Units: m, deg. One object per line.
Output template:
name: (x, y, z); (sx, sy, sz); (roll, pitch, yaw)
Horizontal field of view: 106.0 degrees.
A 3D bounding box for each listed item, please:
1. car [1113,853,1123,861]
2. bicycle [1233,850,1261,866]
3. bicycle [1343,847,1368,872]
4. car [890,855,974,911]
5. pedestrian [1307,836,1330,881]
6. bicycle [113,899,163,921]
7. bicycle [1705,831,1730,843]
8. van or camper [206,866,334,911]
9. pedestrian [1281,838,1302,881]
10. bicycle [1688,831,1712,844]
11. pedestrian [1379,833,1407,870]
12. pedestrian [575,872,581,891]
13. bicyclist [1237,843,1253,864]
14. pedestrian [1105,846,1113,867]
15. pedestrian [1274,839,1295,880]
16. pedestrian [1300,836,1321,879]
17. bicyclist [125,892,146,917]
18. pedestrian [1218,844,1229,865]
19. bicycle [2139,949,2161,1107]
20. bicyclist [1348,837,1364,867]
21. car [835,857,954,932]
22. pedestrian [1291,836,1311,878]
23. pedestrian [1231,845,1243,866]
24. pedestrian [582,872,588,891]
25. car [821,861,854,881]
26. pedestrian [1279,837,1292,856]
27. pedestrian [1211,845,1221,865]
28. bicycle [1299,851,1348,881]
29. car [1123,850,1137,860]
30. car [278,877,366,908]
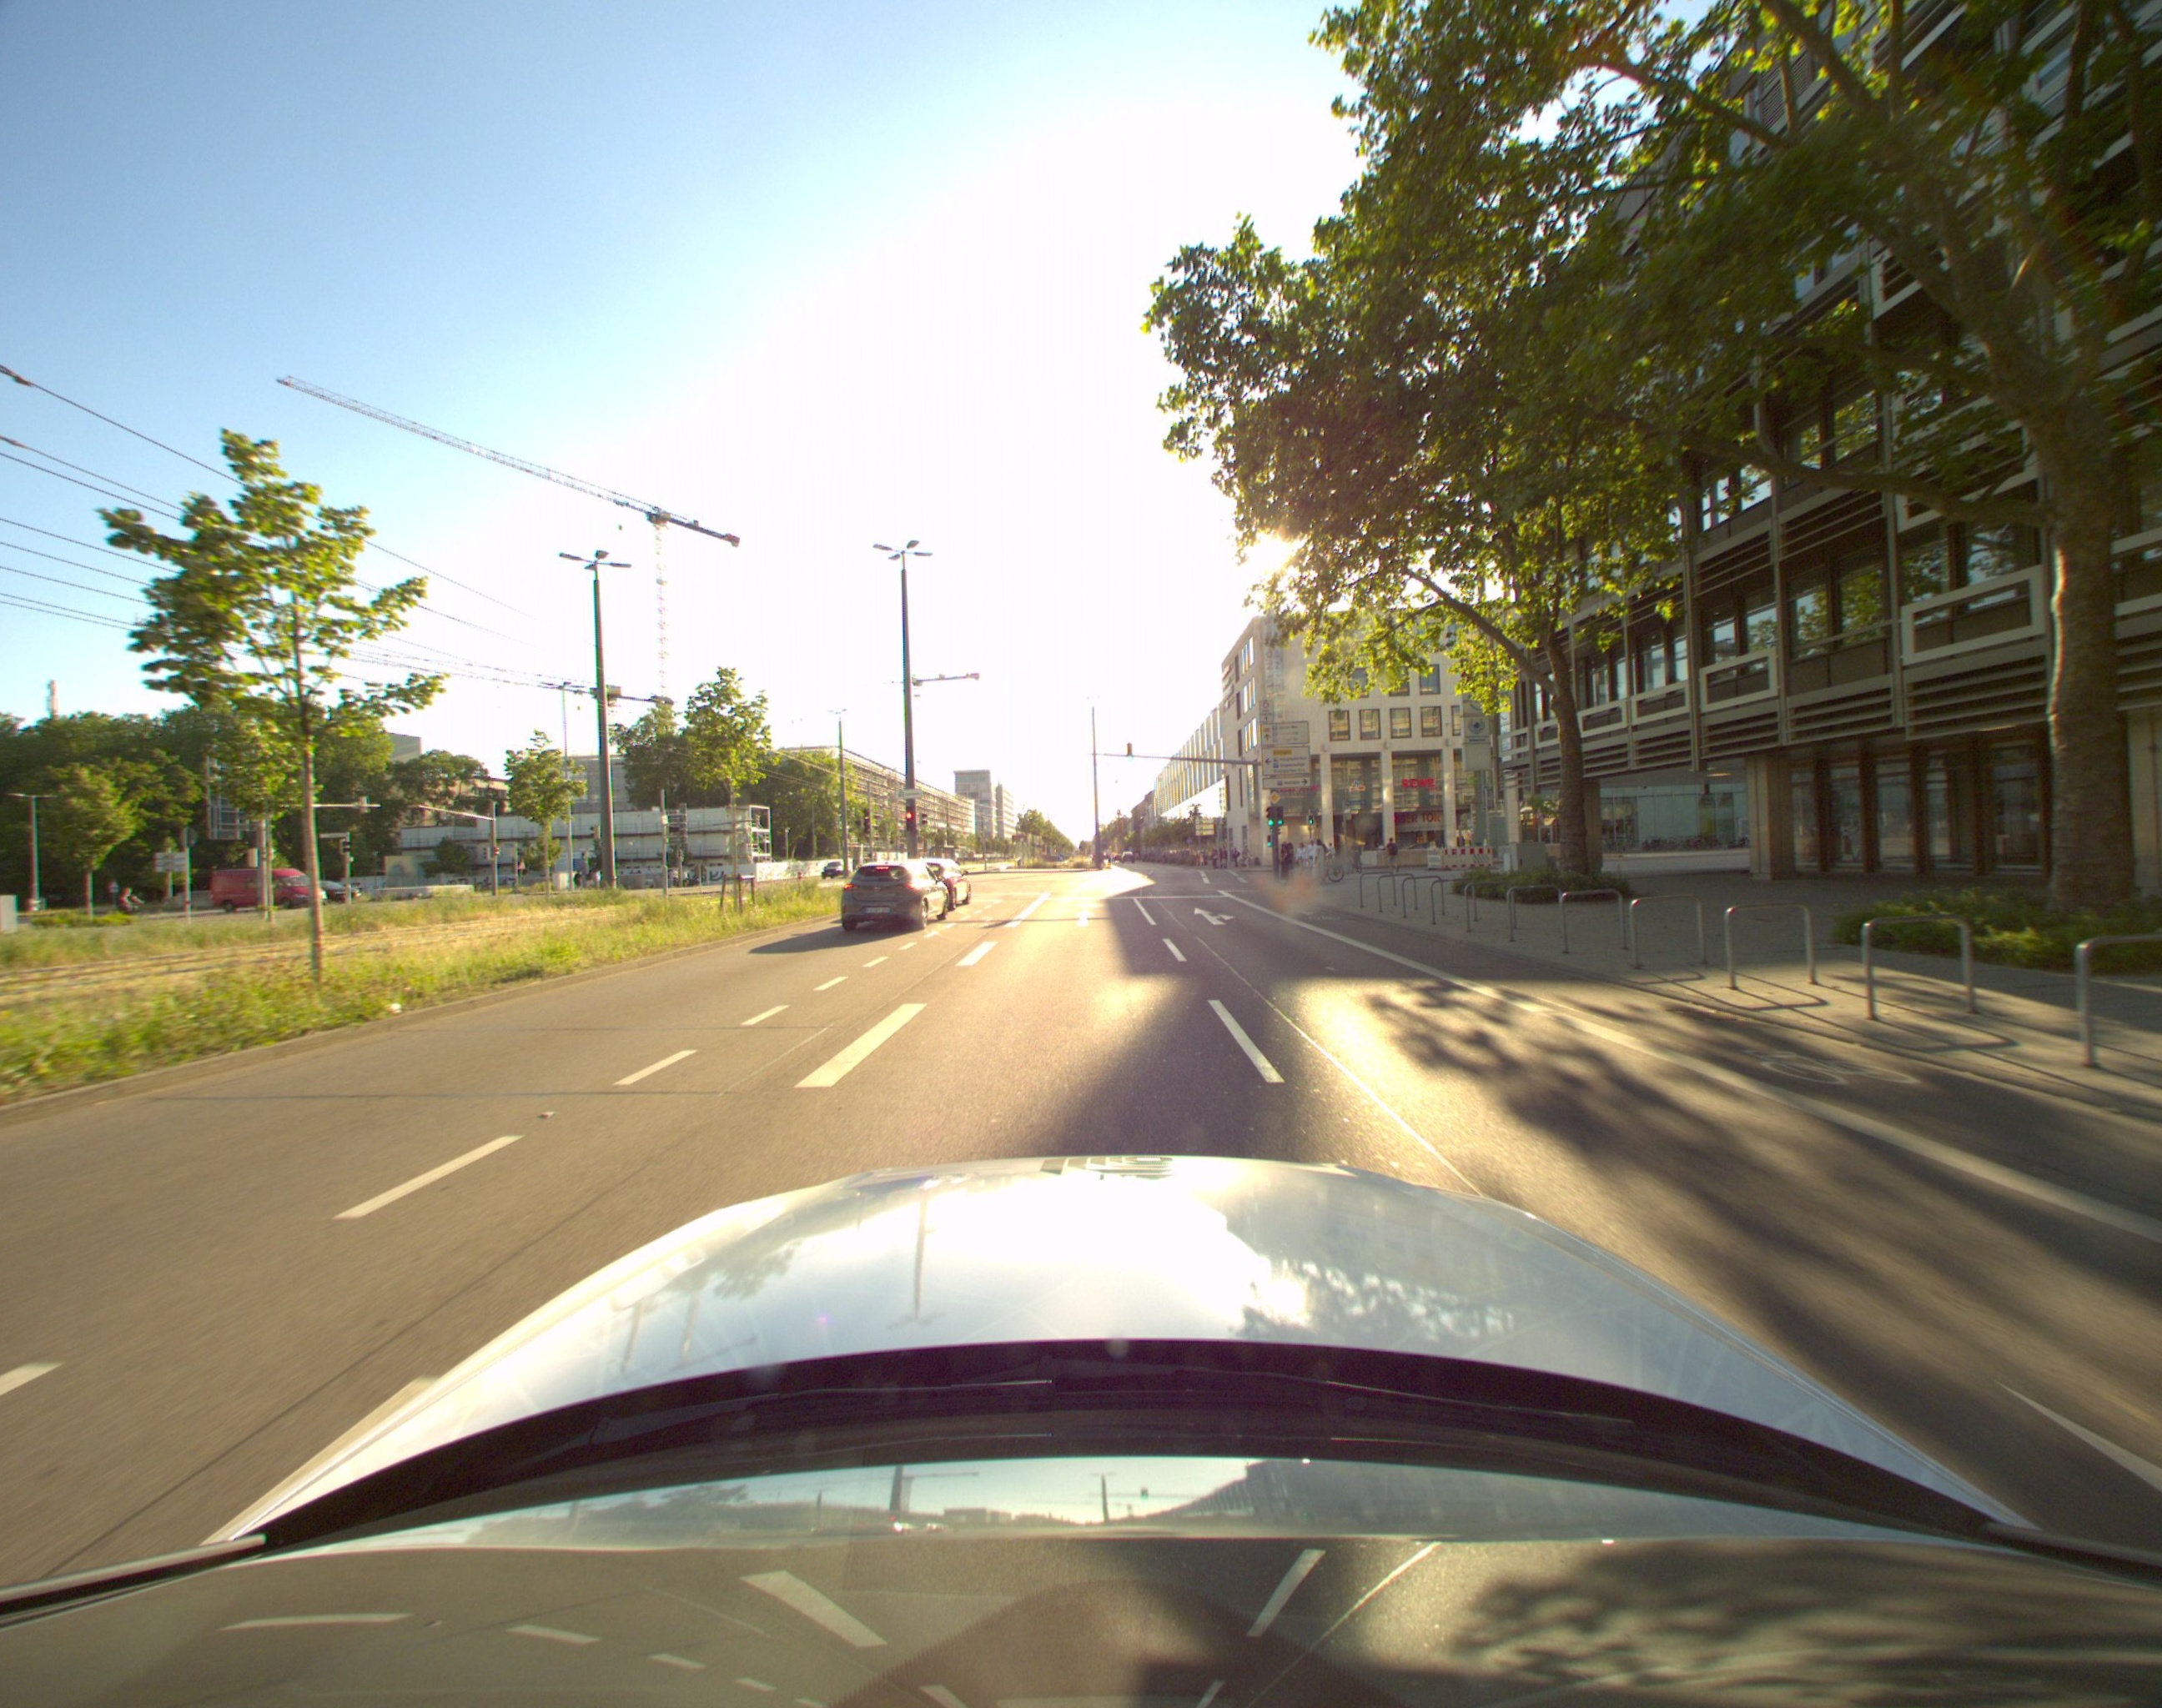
car: (7.061, 0.512, 155.874); (1.698, 1.428, 3.924); (-2, 0, -1)
bicycle: (12.599, 0.301, 61.910); (2.275, 1.204, 0.793); (-2, 0, -39)
bicycle: (14.102, 0.266, 41.837); (0.589, 1.232, 2.155); (-2, 0, 2)
car: (-4.267, 0.787, 23.883); (1.698, 1.428, 3.925); (-1, 0, 0)
pedestrian: (9.212, 0.185, 31.632); (0.632, 1.703, 0.570); (-4, 0, 1)
bicycle: (-46.249, 2.750, 39.946); (1.651, 0.971, 0.506); (-2, 0, -6)
bicycle: (48.311, -1.287, 61.839); (0.538, 0.933, 1.638); (-2, 0, 0)
van or camper: (-49.353, 2.099, 49.654); (5.638, 2.414, 2.156); (-2, 0, 2)
pedestrian: (8.700, 0.225, 33.677); (0.632, 1.703, 0.570); (-4, 0, 1)
bicycle: (46.950, -1.230, 61.737); (0.538, 0.933, 1.638); (-2, 0, 0)
pedestrian: (15.167, -0.128, 39.611); (0.906, 1.703, 1.114); (-2, 0, 2)
pedestrian: (-38.904, 2.125, 62.988); (0.272, 1.465, 0.279); (-2, 0, 1)
bicyclist: (12.432, -0.045, 61.790); (0.789, 1.602, 0.794); (-2, 0, -36)
pedestrian: (2.426, 0.214, 70.181); (0.492, 1.743, 0.446); (-2, 0, -9)
pedestrian: (8.281, 0.218, 33.145); (0.632, 1.608, 0.570); (-4, 0, 1)
pedestrian: (11.337, 0.143, 40.300); (0.762, 2.060, 0.799); (-4, 0, 7)
bicyclist: (-46.369, 2.469, 39.940); (0.410, 1.142, 0.504); (-2, 0, -5)
pedestrian: (12.229, 0.048, 69.972); (0.813, 1.734, 0.791); (-2, 0, 4)
bicycle: (6.775, 0.922, 4.181); (1.682, 0.867, 0.574); (-4, 0, 9)
bicyclist: (14.083, -0.099, 41.703); (0.576, 1.522, 0.750); (-2, 0, 1)
car: (-4.036, 0.808, 18.268); (1.771, 1.428, 3.998); (-1, 0, -1)
pedestrian: (11.156, 0.163, 41.317); (0.762, 2.060, 0.799); (-4, 0, 7)
pedestrian: (13.589, 0.132, 70.950); (0.813, 1.734, 0.791); (-2, 0, 4)
pedestrian: (-38.236, 2.117, 62.838); (0.274, 1.465, 0.315); (-2, 0, -14)
car: (-24.439, 1.708, 81.870); (1.987, 1.776, 4.000); (-2, 0, 1)
pedestrian: (18.370, -0.680, 73.095); (0.866, 1.585, 0.825); (-4, 0, 4)
pedestrian: (11.803, 0.073, 71.196); (0.813, 1.734, 0.791); (-2, 0, 4)
bicycle: (9.708, 0.477, 32.642); (1.796, 1.086, 0.479); (-4, 0, 2)
car: (7.820, 0.119, 130.731); (1.934, 1.428, 3.924); (-2, 0, -1)
car: (-49.299, 2.502, 52.932); (4.001, 1.758, 1.802); (-2, 0, 2)
